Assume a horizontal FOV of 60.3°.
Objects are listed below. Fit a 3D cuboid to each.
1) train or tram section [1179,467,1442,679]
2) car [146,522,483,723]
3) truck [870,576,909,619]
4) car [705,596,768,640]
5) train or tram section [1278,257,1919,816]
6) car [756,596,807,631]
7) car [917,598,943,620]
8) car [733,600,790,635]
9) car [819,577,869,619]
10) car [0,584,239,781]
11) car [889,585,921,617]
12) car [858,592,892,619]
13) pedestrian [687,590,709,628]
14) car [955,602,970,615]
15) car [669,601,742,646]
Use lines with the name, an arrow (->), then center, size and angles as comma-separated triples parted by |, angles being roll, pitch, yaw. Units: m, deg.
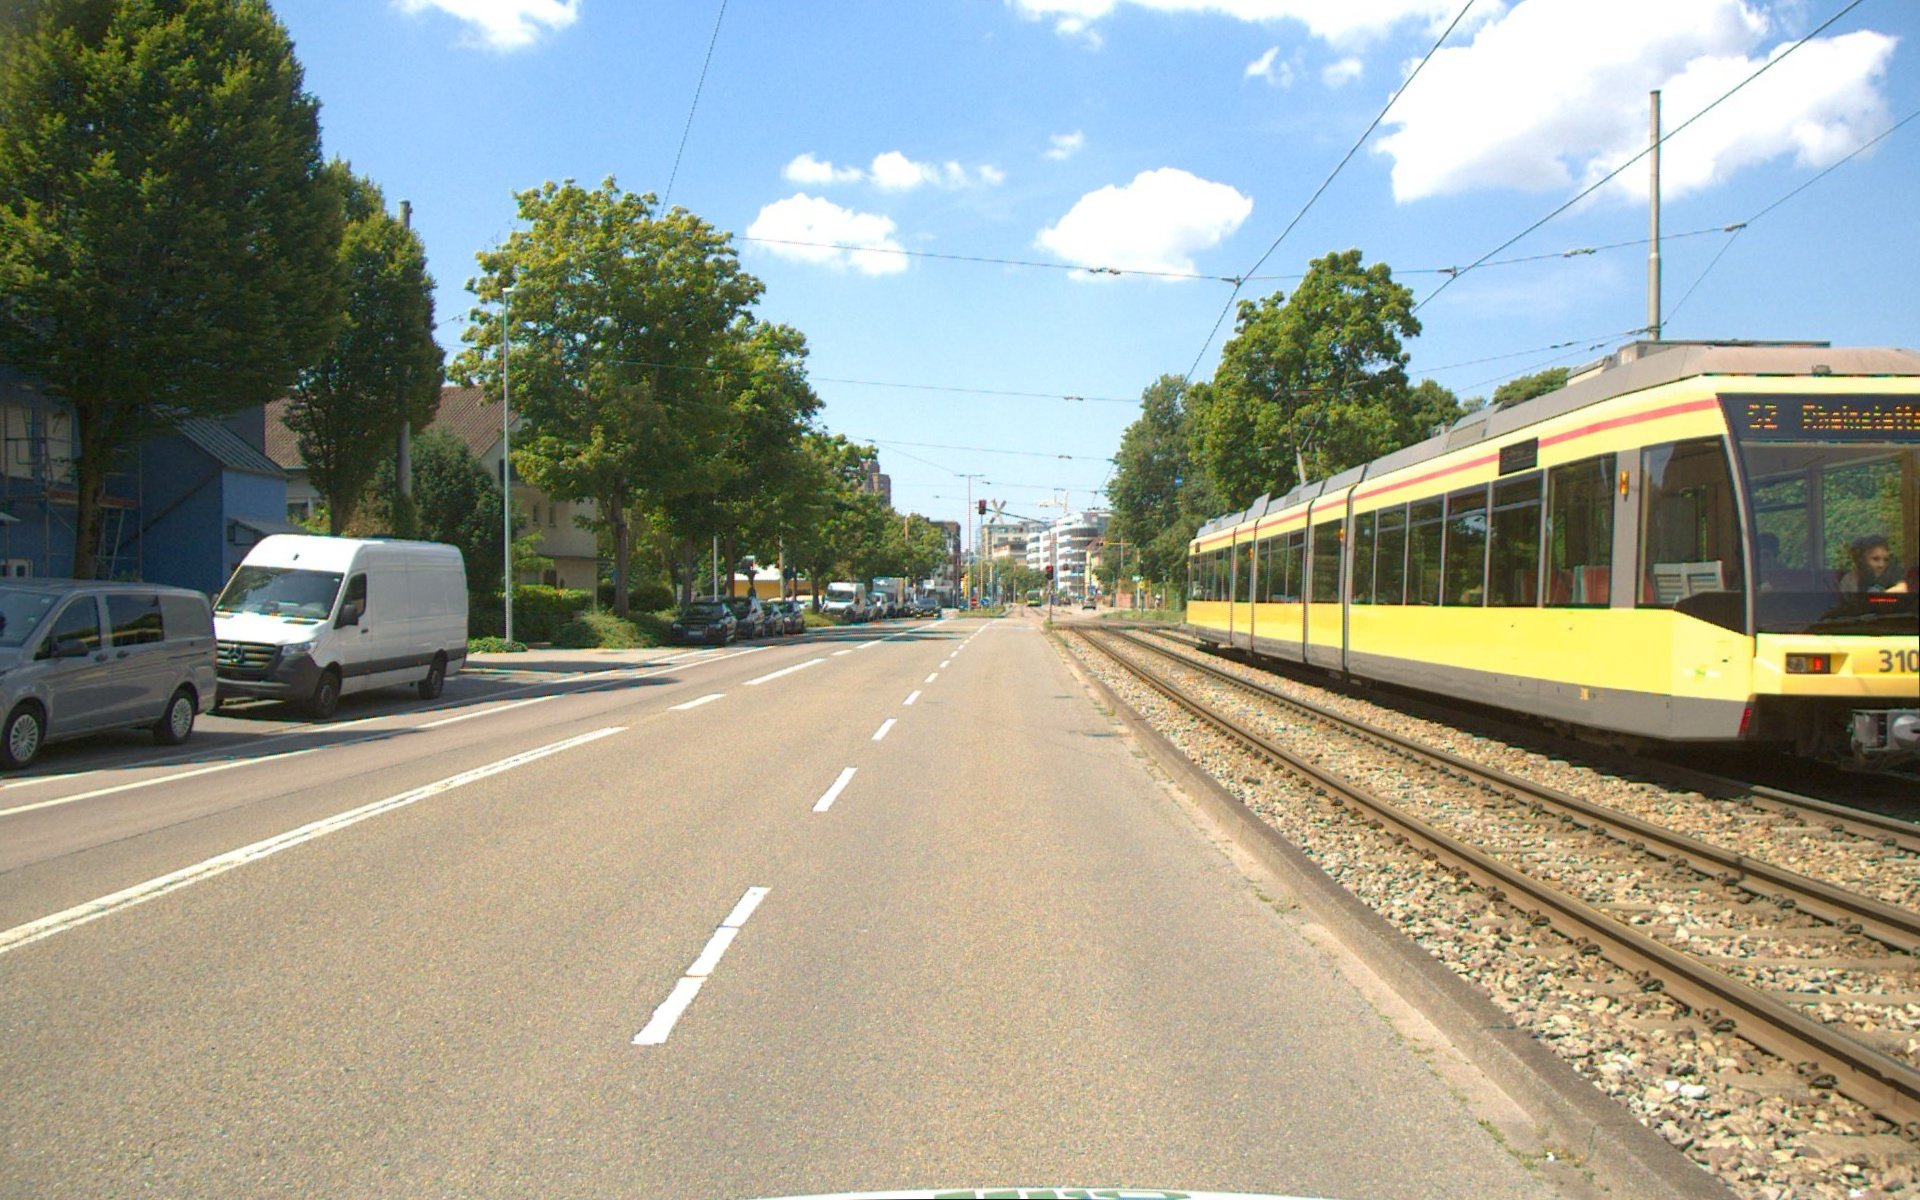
train or tram section -> 7.598, -0.513, 39.656 | 2.882, 3.756, 20.290 | 1, 0, 3
car -> -10.149, 0.302, 26.926 | 2.275, 2.697, 7.037 | 4, 0, 3
truck -> -5.662, -0.209, 133.274 | 2.111, 3.266, 7.086 | 3, 0, 5
car -> -8.747, 0.673, 65.040 | 1.738, 1.632, 4.638 | 1, 0, 1
train or tram section -> 6.872, -0.450, 20.321 | 2.882, 3.756, 18.393 | 1, 0, 2
car -> -8.102, 0.594, 75.362 | 1.738, 1.506, 4.048 | 1, 0, 2
car -> -2.144, 0.654, 118.508 | 1.738, 1.485, 4.195 | -2, 0, 1
car -> -8.443, 0.718, 70.667 | 1.738, 1.397, 4.697 | 2, 0, 1
car -> -7.329, -0.117, 105.160 | 2.111, 2.530, 6.196 | 3, 0, 5
car -> -10.243, 0.801, 18.616 | 1.769, 1.928, 5.363 | -1, 0, 1
car -> -4.902, 0.100, 148.550 | 2.111, 2.685, 5.614 | 3, 0, 5
car -> -6.412, 0.411, 124.869 | 2.018, 1.931, 4.873 | -1, 0, 3
pedestrian -> -13.059, 0.439, 82.455 | 0.954, 1.855, 0.794 | -1, 0, -1
car -> 0.275, 0.954, 191.129 | 1.643, 1.422, 4.005 | -3, 0, 0
car -> -8.783, 0.774, 57.487 | 1.738, 1.481, 4.804 | 0, 0, 1
